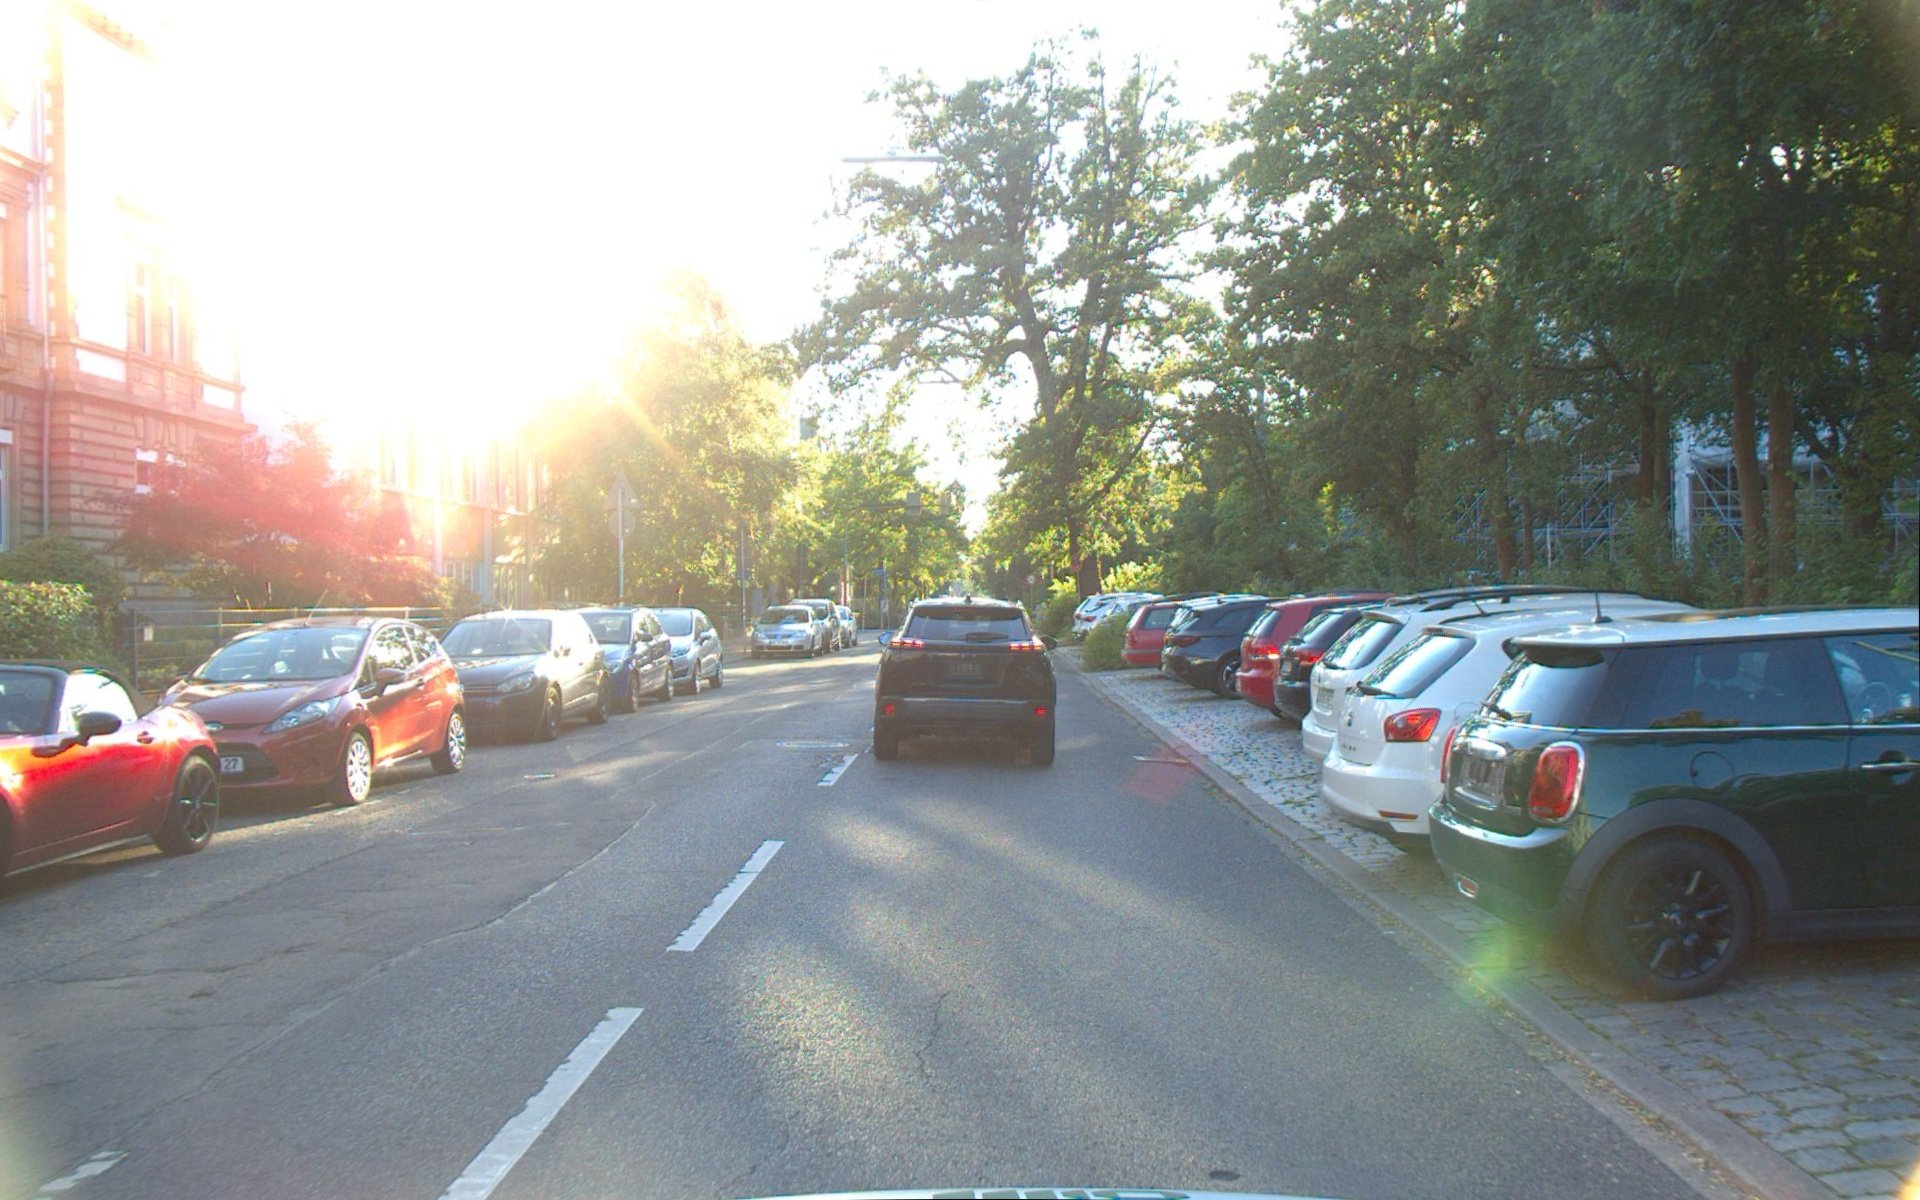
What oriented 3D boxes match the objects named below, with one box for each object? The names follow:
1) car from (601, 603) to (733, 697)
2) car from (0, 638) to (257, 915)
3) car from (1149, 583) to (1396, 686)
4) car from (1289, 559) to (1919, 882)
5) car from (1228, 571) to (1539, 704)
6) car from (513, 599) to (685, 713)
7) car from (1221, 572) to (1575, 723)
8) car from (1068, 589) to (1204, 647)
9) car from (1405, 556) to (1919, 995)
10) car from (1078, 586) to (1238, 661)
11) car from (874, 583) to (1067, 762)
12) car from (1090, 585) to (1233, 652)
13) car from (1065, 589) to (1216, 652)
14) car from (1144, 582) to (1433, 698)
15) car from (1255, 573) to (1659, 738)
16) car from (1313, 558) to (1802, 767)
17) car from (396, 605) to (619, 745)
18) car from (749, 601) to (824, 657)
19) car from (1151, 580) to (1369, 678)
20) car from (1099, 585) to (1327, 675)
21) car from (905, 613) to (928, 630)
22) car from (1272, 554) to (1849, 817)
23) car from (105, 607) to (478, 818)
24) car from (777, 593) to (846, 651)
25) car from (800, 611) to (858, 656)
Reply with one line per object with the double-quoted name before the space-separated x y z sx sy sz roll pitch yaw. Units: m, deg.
"car" -5.147 0.835 29.478 1.568 1.520 3.773 -2 0 1
"car" -5.526 0.929 9.301 1.524 1.302 3.732 -2 0 0
"car" 5.269 0.578 28.268 3.843 1.479 1.832 -3 -1 2
"car" 3.896 0.609 9.479 3.592 1.470 1.734 -4 0 -1
"car" 5.708 0.514 22.656 3.729 1.500 1.832 -4 -1 1
"car" -5.366 0.785 25.032 1.565 1.534 3.788 -2 0 3
"car" 5.173 0.564 19.889 3.729 1.500 1.756 -4 -1 1
"car" 5.400 0.557 51.037 4.082 1.740 1.868 0 -1 5
"car" 3.962 0.611 7.161 3.537 1.552 1.671 -4 0 -1
"car" 4.911 0.576 41.379 3.670 1.622 1.696 -3 0 -3
"car" 0.060 0.659 16.750 1.732 1.596 3.379 1 0 -1
"car" 5.299 0.514 43.825 3.515 1.594 1.818 -2 -2 0
"car" 5.012 0.563 46.303 4.037 1.696 1.723 0 0 1
"car" 4.943 0.601 25.328 4.035 1.500 1.832 -3 -1 2
"car" 5.124 0.573 17.439 3.672 1.419 1.756 -4 -1 1
"car" 5.211 0.542 14.807 3.649 1.524 1.820 -4 -1 1
"car" -5.372 0.825 20.134 1.566 1.480 4.054 -2 0 0
"car" -4.937 0.809 47.451 1.636 1.520 4.061 0 -1 1
"car" 5.534 0.531 30.831 3.638 1.583 1.741 -3 -1 -3
"car" 4.985 0.577 32.988 4.248 1.501 1.742 -3 0 1
"car" -3.599 1.780 136.212 1.774 1.378 3.996 -1 0 -4
"car" 4.328 0.590 12.323 3.592 1.579 1.734 -4 0 -1
"car" -5.413 0.821 13.933 1.566 1.480 3.861 -1 0 0
"car" -4.707 0.672 52.876 1.644 1.738 4.341 -2 0 1
"car" -4.672 1.162 59.267 1.644 1.482 3.882 -2 0 1
